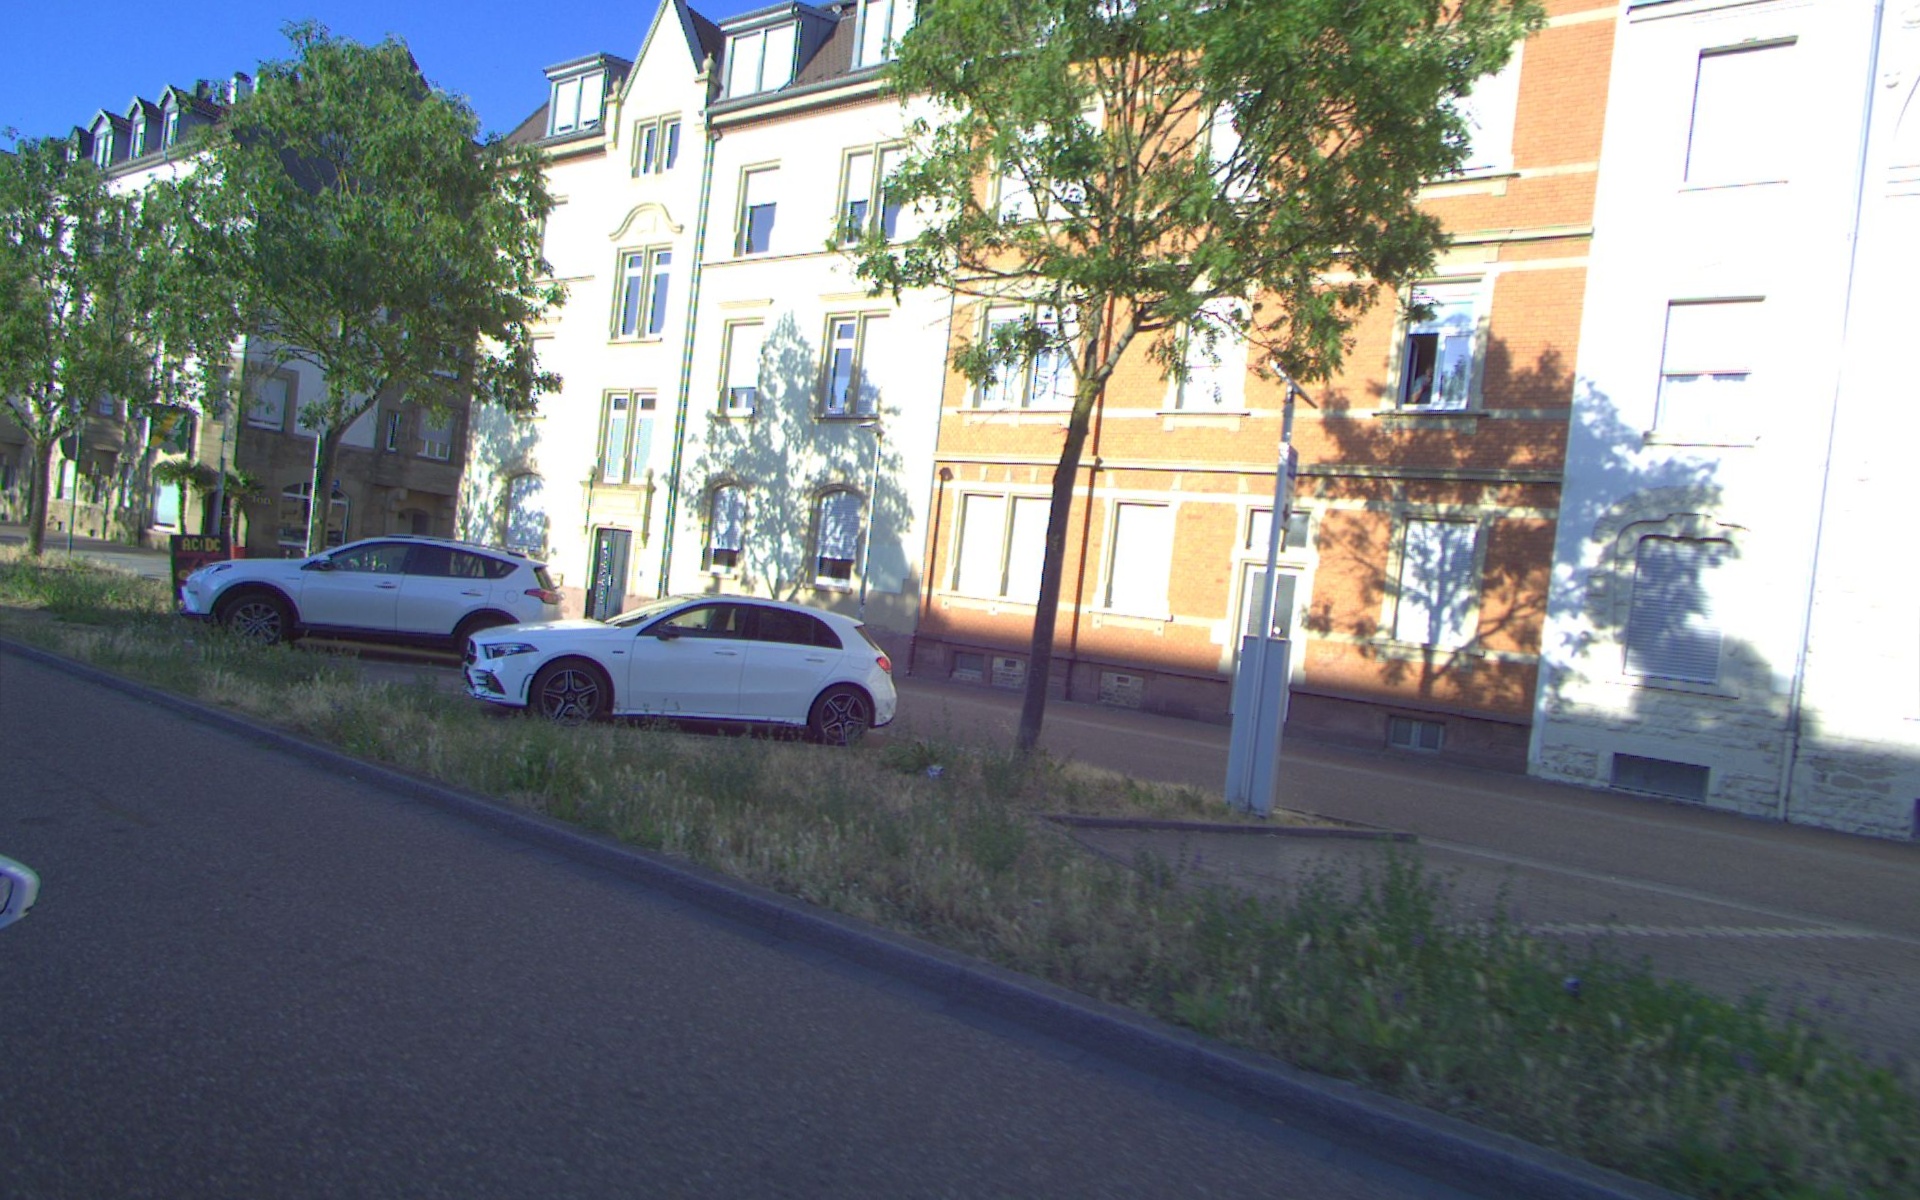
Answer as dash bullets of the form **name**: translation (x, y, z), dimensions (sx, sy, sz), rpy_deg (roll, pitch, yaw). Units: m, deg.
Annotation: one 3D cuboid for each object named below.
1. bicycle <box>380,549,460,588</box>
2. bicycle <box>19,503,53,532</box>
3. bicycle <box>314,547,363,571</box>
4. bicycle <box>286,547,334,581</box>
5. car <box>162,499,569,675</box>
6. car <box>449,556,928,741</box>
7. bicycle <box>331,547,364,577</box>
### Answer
- **bicycle**: translation (-18.538, -1.059, 34.591), dimensions (0.718, 1.063, 2.332), rpy_deg (7, 0, 28)
- **bicycle**: translation (-40.480, -3.606, 44.081), dimensions (1.865, 1.087, 0.572), rpy_deg (7, 2, 32)
- **bicycle**: translation (-25.009, -1.633, 40.517), dimensions (0.522, 0.744, 1.543), rpy_deg (8, 0, 31)
- **bicycle**: translation (-19.140, -1.061, 29.610), dimensions (1.853, 0.885, 0.459), rpy_deg (6, 6, 32)
- **car**: translation (-7.791, -0.133, 13.742), dimensions (4.375, 1.712, 1.905), rpy_deg (7, 0, -24)
- **car**: translation (-2.842, 0.534, 10.686), dimensions (4.502, 1.416, 2.017), rpy_deg (7, -1, -28)
- **bicycle**: translation (-23.461, -1.475, 38.538), dimensions (0.626, 0.959, 1.861), rpy_deg (7, 1, -43)
